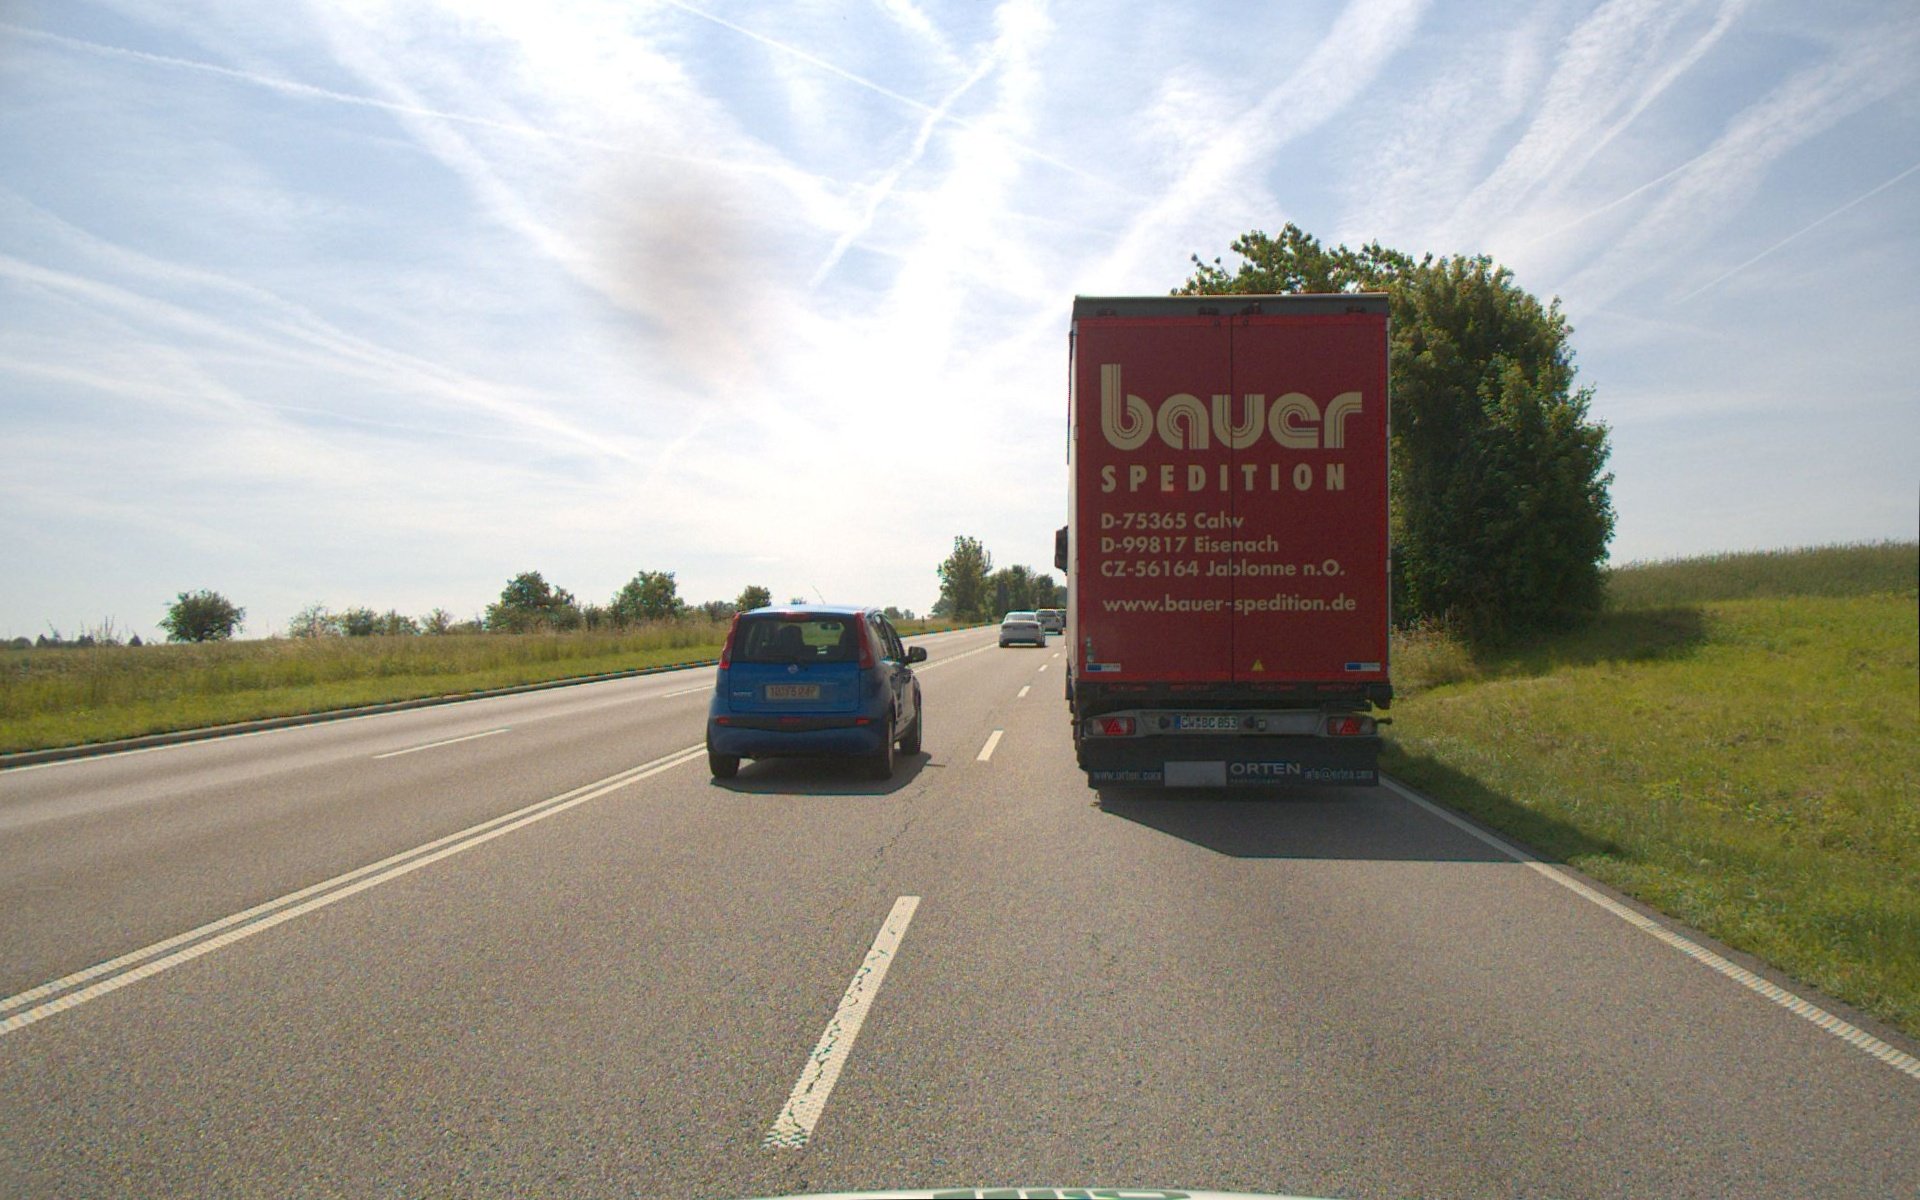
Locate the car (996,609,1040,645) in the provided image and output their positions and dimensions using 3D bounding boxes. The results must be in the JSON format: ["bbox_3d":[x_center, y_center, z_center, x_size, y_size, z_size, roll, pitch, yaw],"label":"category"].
[{"bbox_3d":[2.421,1.074,67.688,1.667,1.400,4.605,1,0,3],"label":"car"}]

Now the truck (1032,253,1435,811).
[{"bbox_3d":[2.459,-0.492,21.017,2.944,4.253,16.718,0,0,2],"label":"truck"}]

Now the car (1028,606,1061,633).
[{"bbox_3d":[5.028,1.150,97.855,1.782,1.498,4.791,1,0,5],"label":"car"}]

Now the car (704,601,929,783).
[{"bbox_3d":[-1.273,0.799,16.186,1.597,1.558,3.917,0,0,4],"label":"car"}]
